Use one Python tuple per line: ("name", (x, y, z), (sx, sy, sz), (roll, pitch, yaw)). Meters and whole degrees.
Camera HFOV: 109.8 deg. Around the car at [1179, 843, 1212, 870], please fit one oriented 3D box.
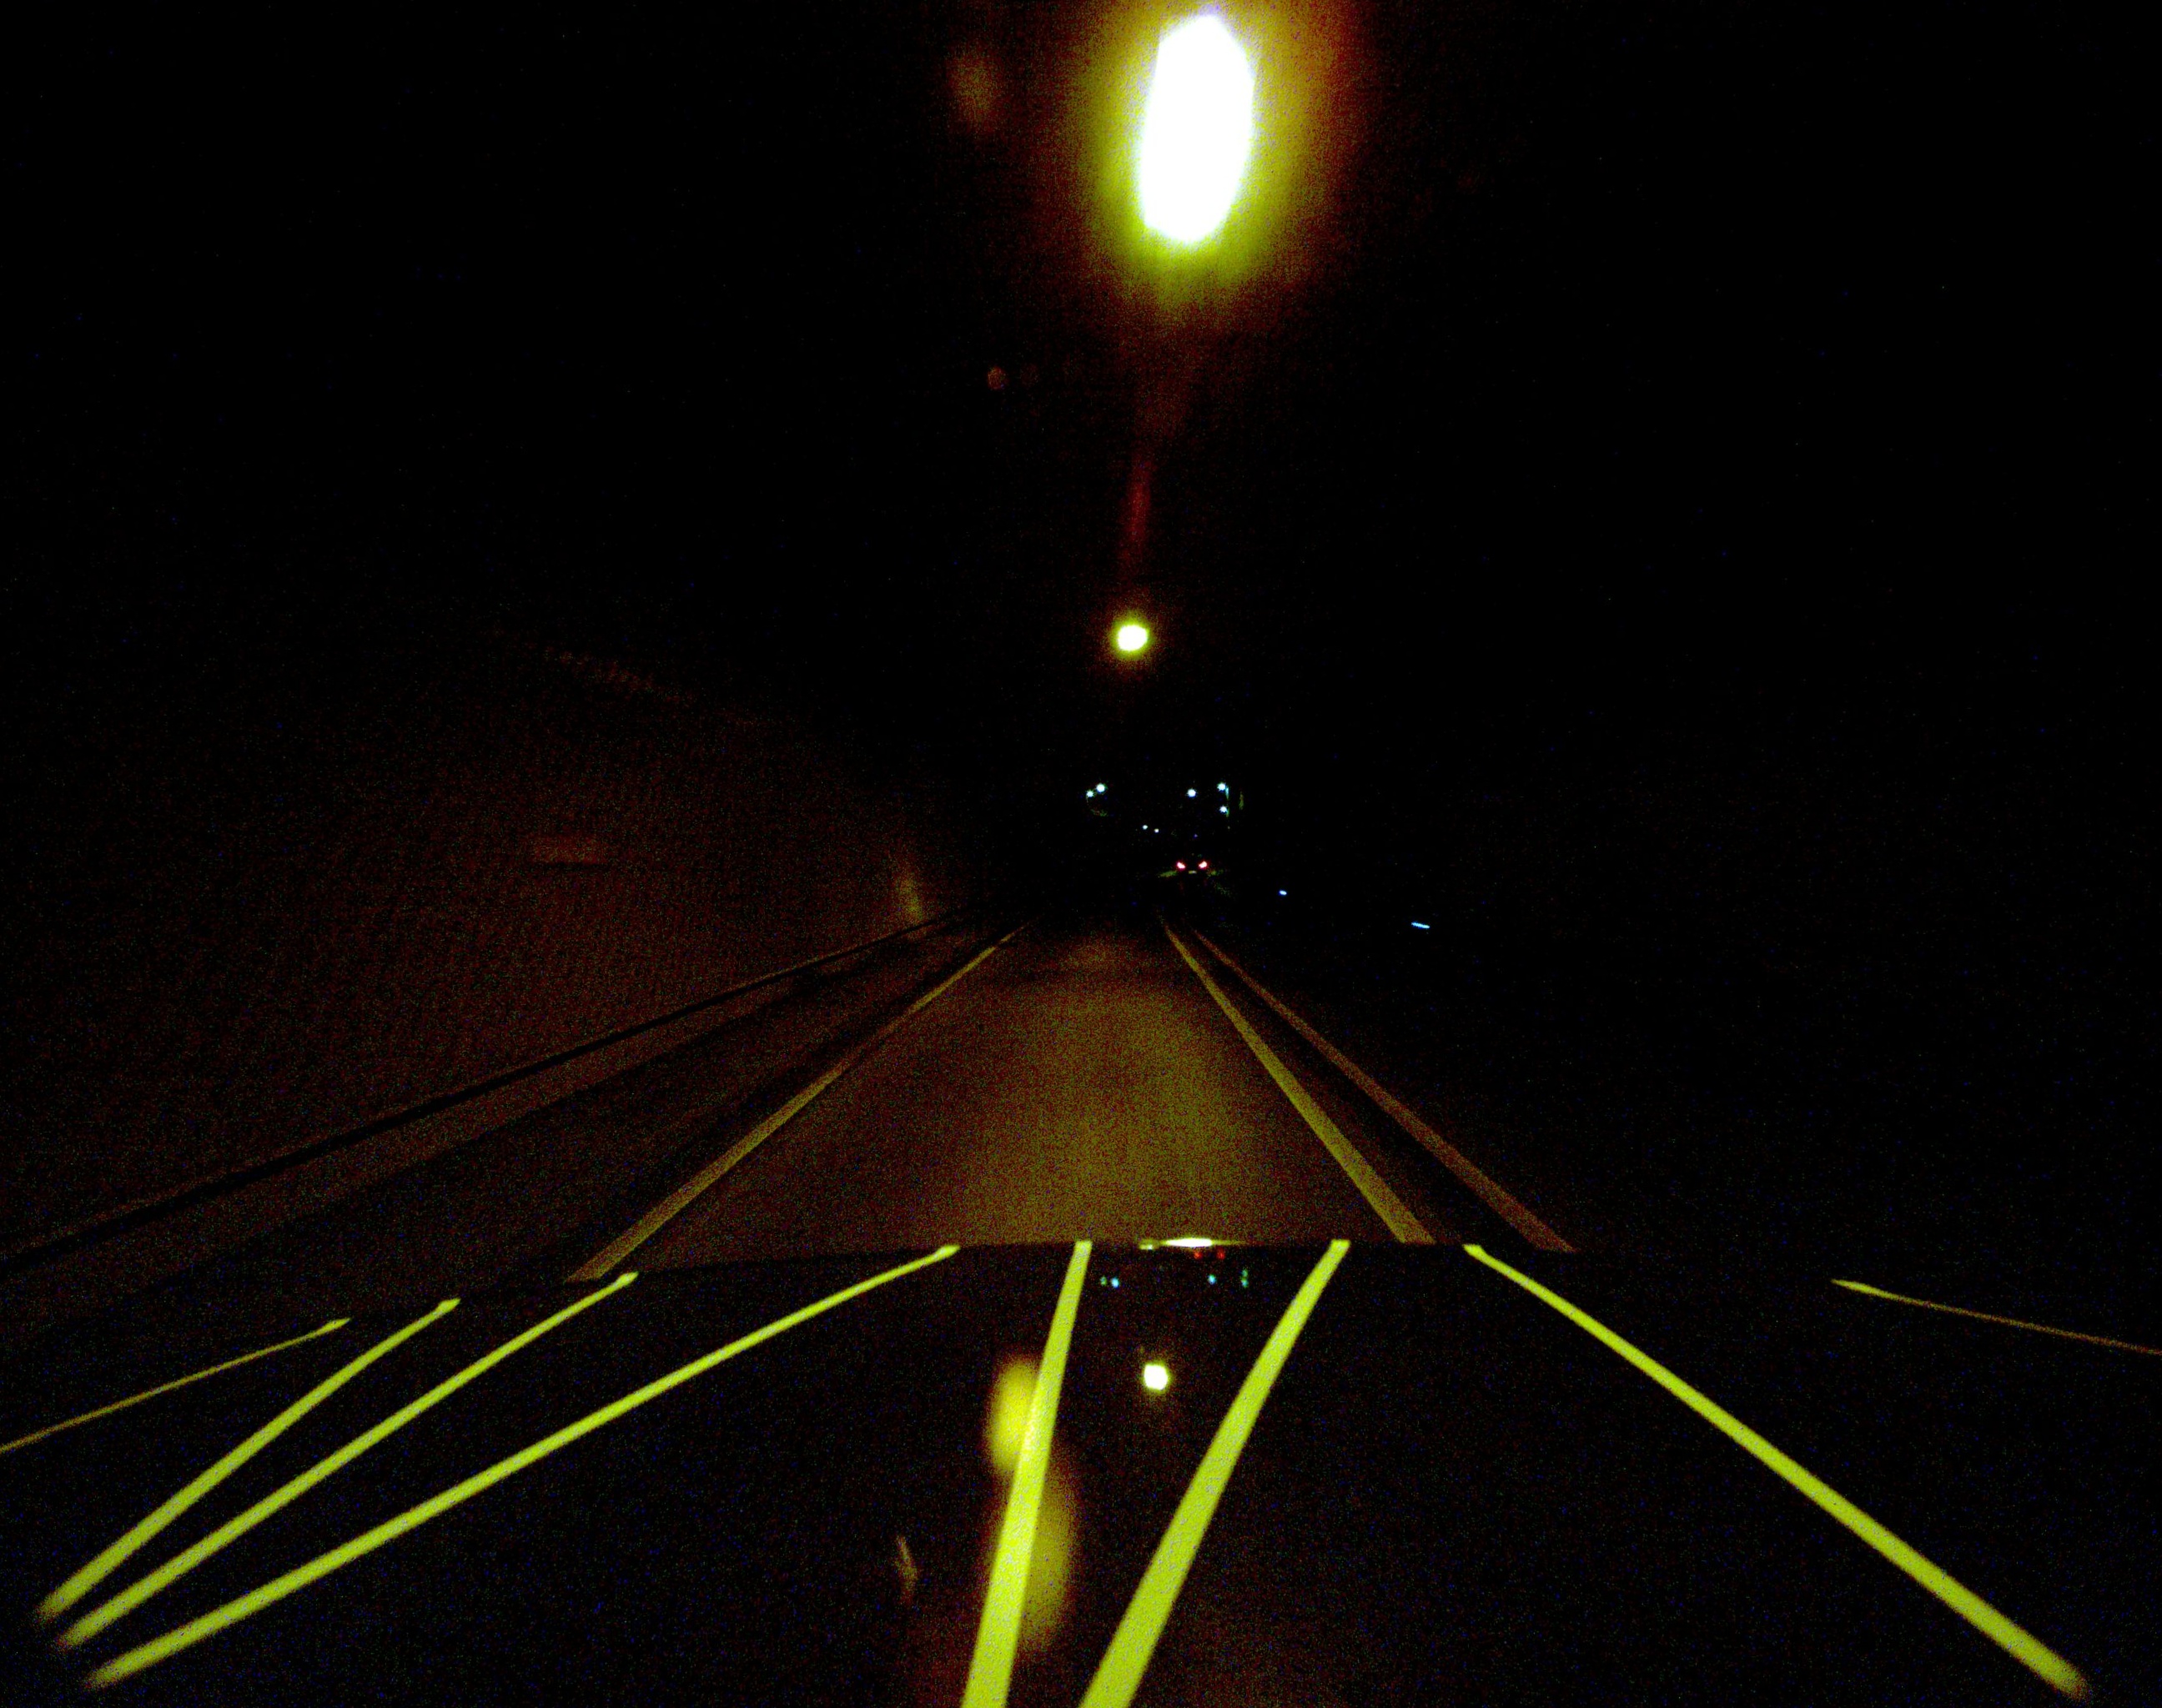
("car", (6.847, 0.109, 45.364), (1.719, 1.434, 4.396), (-4, 0, 9))
